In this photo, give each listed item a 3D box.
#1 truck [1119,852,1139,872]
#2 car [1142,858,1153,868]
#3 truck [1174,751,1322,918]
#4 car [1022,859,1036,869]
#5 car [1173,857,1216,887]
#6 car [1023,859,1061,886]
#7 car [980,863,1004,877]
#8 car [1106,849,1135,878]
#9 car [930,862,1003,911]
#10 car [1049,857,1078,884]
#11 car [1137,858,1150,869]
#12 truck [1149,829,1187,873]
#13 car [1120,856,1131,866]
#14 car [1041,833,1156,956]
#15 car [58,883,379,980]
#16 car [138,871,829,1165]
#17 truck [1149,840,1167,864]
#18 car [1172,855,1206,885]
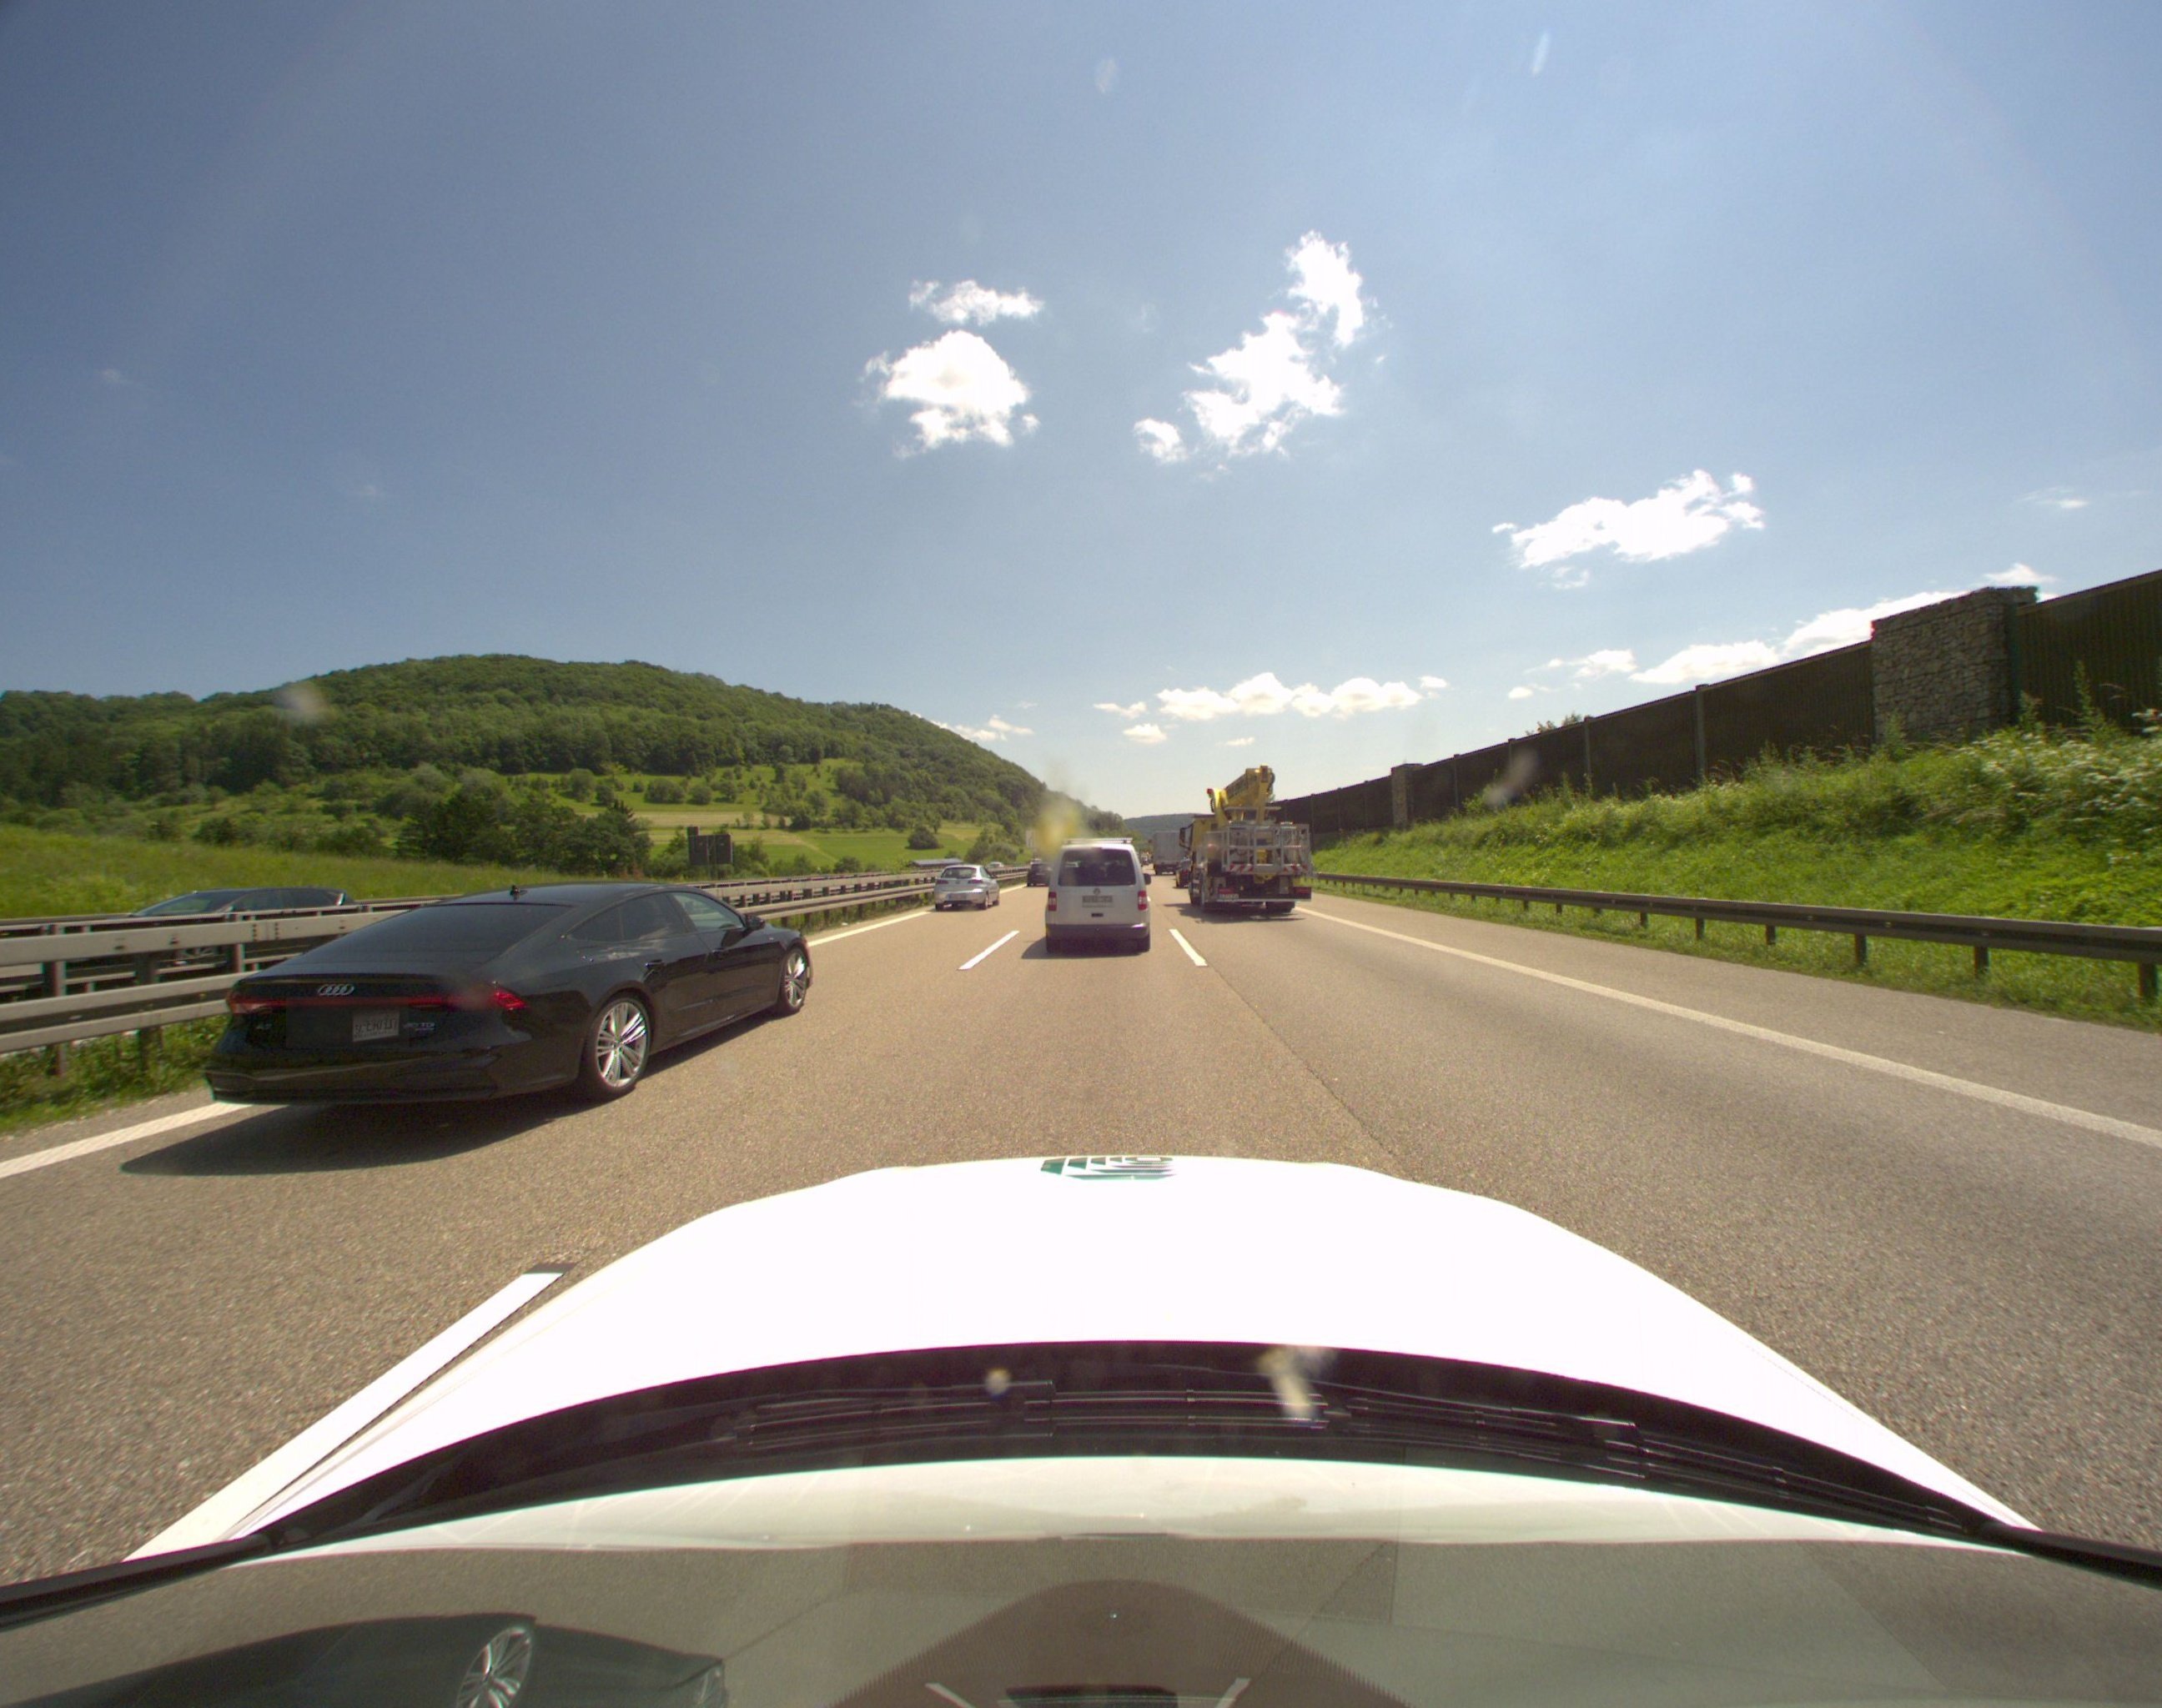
[{"bbox_3d":[6.274,1.014,107.040,2.381,2.541,5.941,-1,0,1],"label":"truck"},{"bbox_3d":[12.995,1.759,158.548,1.985,1.806,4.002,0,-1,3],"label":"car"},{"bbox_3d":[4.495,-0.430,23.904,2.694,3.942,8.724,-1,0,2],"label":"truck"},{"bbox_3d":[-9.866,1.929,155.365,2.052,1.942,4.663,-1,0,2],"label":"car"},{"bbox_3d":[5.807,0.900,42.137,1.779,1.458,3.772,-1,0,1],"label":"car"},{"bbox_3d":[-2.280,1.081,48.229,1.918,1.499,4.001,-1,0,1],"label":"car"},{"bbox_3d":[-9.974,1.767,91.460,1.986,1.455,4.530,-1,0,2],"label":"car"},{"bbox_3d":[2.816,0.681,58.574,1.986,1.975,4.001,-1,0,1],"label":"car"},{"bbox_3d":[-3.671,1.016,26.687,1.689,1.445,3.863,-1,0,2],"label":"car"},{"bbox_3d":[-1.316,1.291,64.011,1.986,2.014,4.001,-2,-1,1],"label":"car"},{"bbox_3d":[10.657,1.628,138.680,1.985,1.806,4.002,0,-1,3],"label":"car"},{"bbox_3d":[7.895,-0.169,74.948,2.928,3.823,8.242,0,-1,3],"label":"truck"},{"bbox_3d":[8.903,1.416,162.932,1.985,1.806,4.002,0,-1,3],"label":"car"},{"bbox_3d":[0.323,0.637,14.646,1.749,1.868,4.001,-1,0,1],"label":"car"},{"bbox_3d":[-15.132,1.279,14.625,1.684,1.368,3.743,-1,0,2],"label":"car"},{"bbox_3d":[-3.825,0.888,6.631,1.794,1.390,4.972,-1,0,2],"label":"car"},{"bbox_3d":[10.793,-0.187,114.481,1.986,3.251,6.801,0,-1,1],"label":"truck"},{"bbox_3d":[7.632,1.130,57.828,1.985,2.014,4.003,-1,0,3],"label":"car"}]
